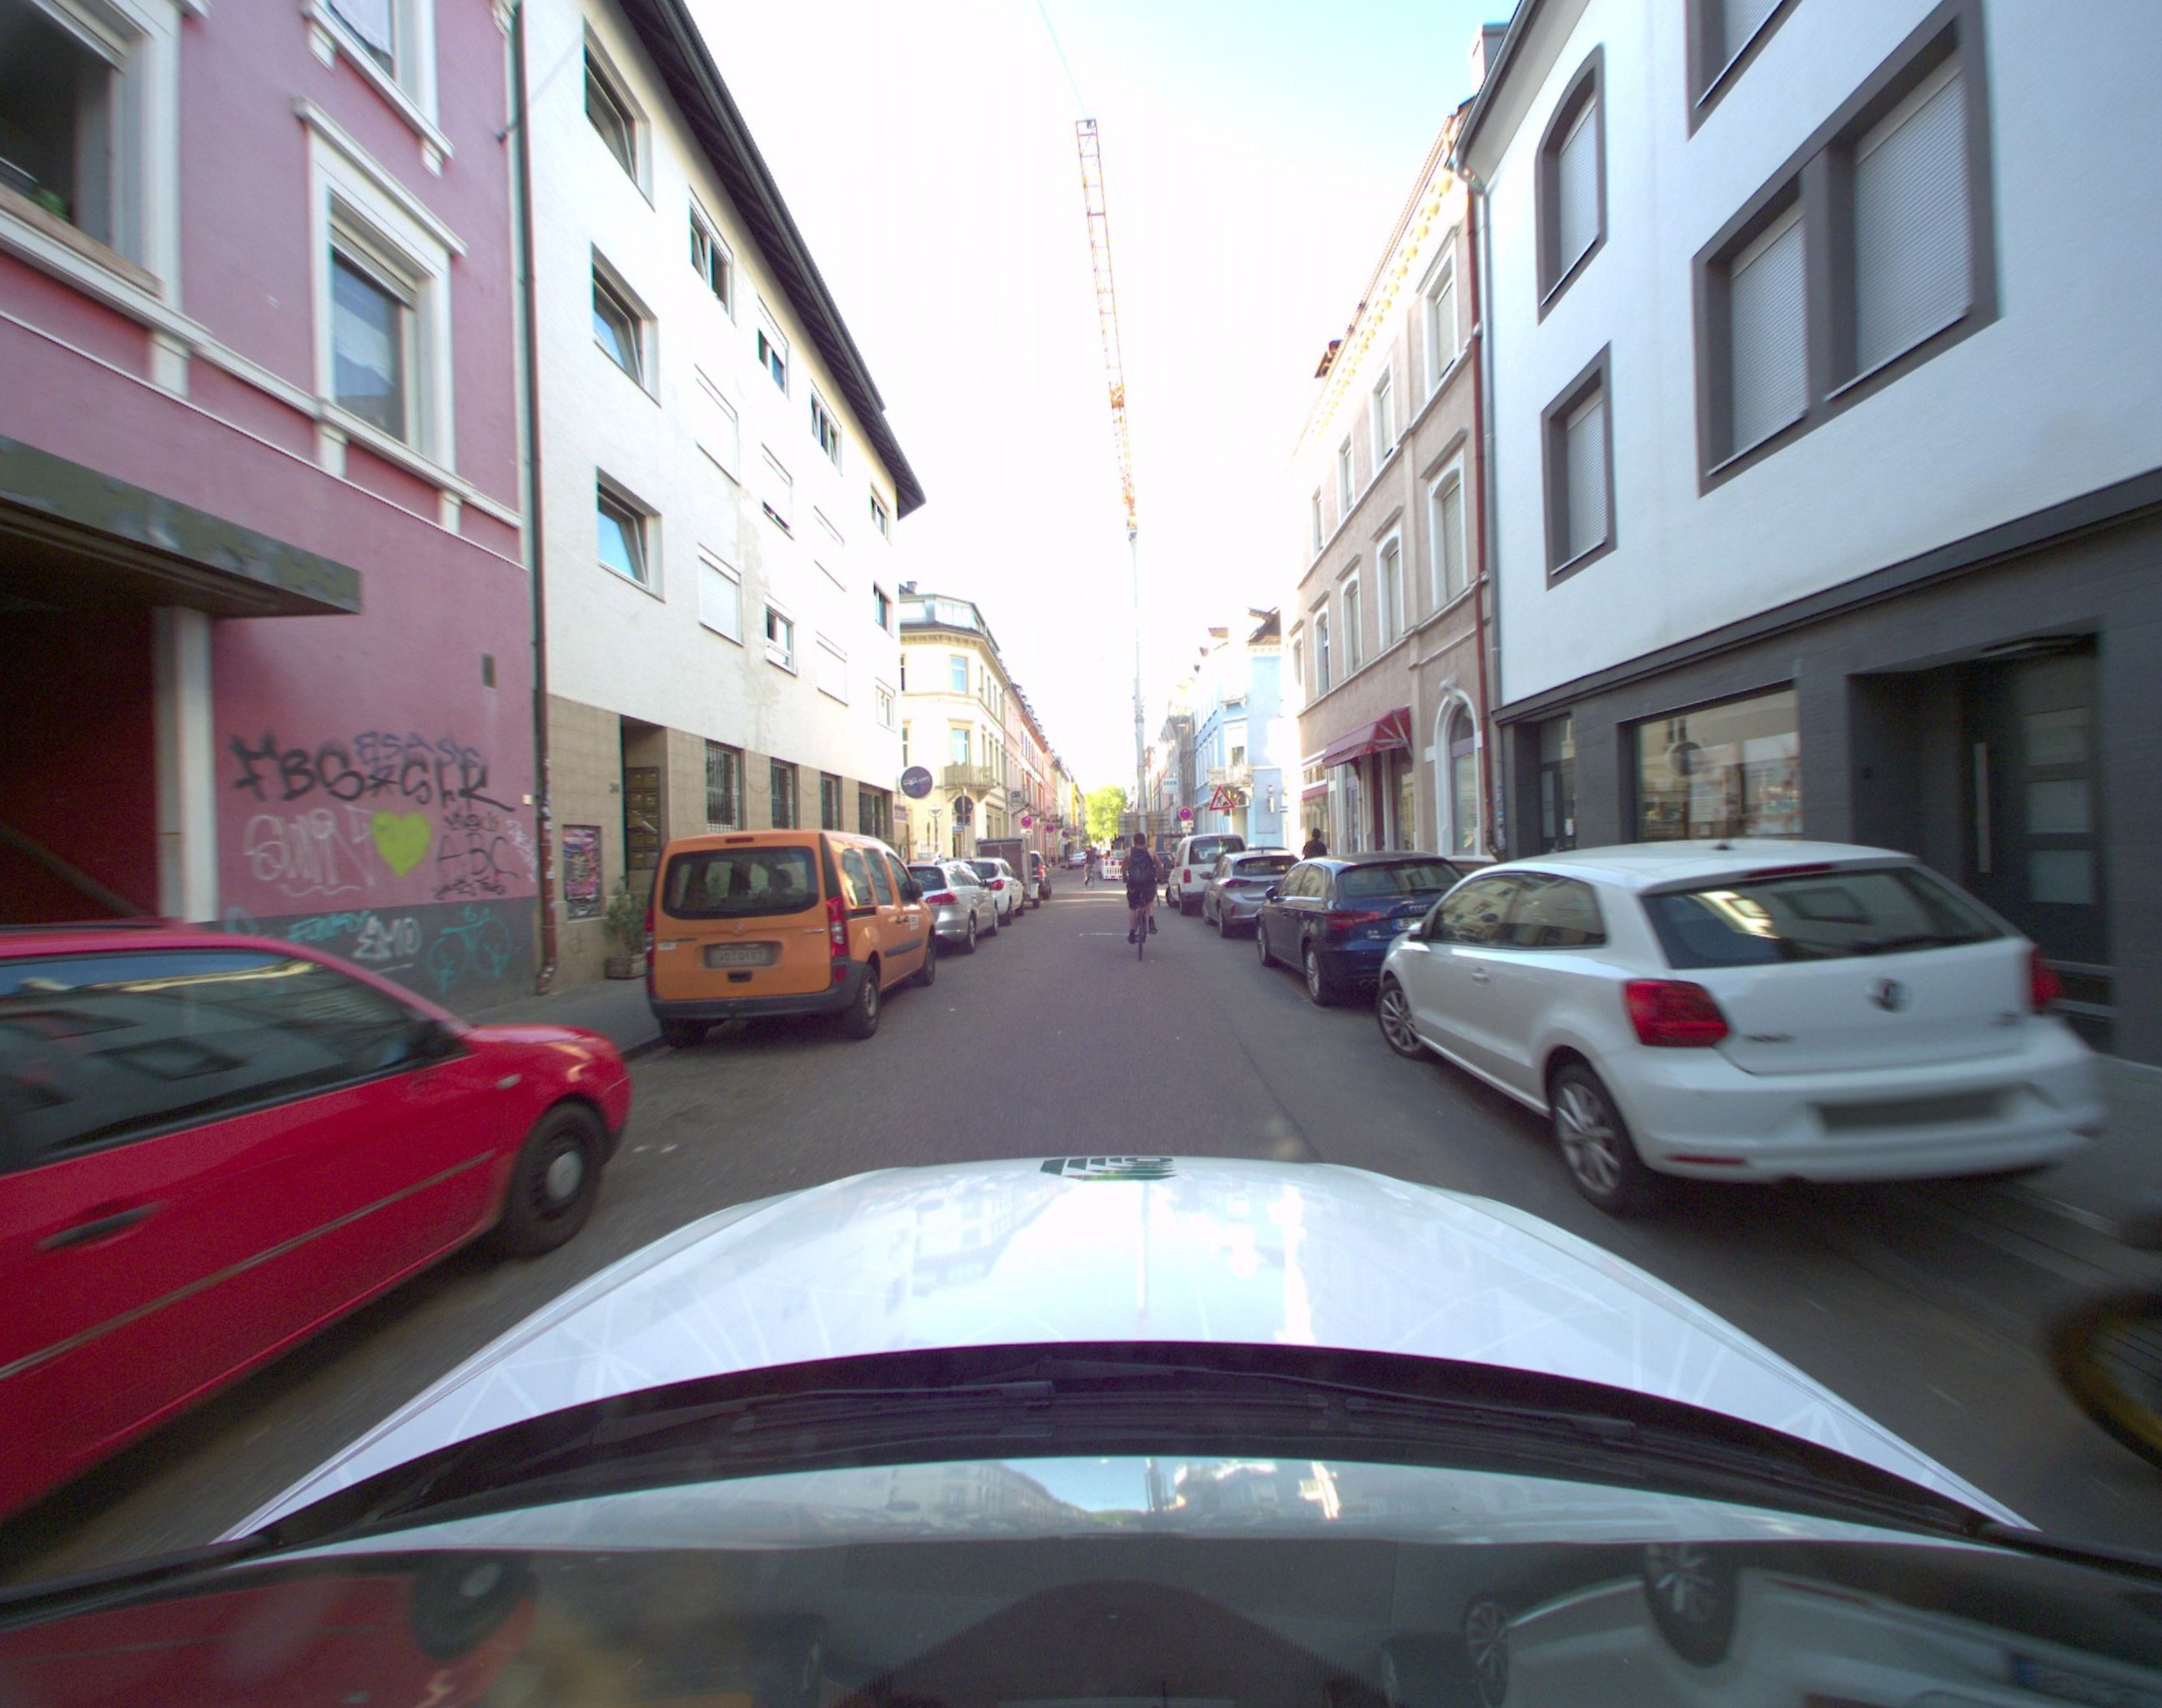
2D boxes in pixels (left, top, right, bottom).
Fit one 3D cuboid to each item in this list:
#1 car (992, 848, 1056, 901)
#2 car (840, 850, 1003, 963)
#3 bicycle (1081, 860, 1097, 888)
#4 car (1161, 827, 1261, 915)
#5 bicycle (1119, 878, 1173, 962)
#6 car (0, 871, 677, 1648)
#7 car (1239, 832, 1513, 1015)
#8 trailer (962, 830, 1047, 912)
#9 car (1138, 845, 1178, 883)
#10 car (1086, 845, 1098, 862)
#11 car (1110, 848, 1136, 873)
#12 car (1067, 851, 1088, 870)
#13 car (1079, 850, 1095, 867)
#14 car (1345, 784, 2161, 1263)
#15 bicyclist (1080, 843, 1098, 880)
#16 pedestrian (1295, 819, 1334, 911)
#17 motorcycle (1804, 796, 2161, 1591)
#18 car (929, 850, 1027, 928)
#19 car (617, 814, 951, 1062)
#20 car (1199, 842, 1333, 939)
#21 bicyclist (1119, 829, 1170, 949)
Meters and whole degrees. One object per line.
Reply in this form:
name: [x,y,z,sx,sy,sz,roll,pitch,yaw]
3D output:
car: [-1.873,0.662,27.751,1.743,1.573,3.797,-3,0,2]
car: [-2.495,0.761,13.835,1.743,1.537,4.320,-3,0,2]
bicycle: [0.355,0.814,34.531,0.646,1.129,2.136,-1,0,2]
car: [3.088,0.395,20.115,1.745,1.878,3.971,-3,0,-1]
bicycle: [0.926,0.923,11.968,0.674,1.074,1.942,-1,0,1]
car: [-2.922,0.867,2.350,1.572,1.483,3.566,-4,0,1]
car: [3.006,0.630,9.223,1.640,1.475,3.972,-6,-1,2]
trailer: [-2.111,0.453,23.441,1.875,2.092,3.738,-3,0,2]
car: [3.502,0.450,37.430,1.605,1.633,3.611,-1,0,2]
car: [1.677,-0.070,123.094,1.743,2.318,3.797,-3,0,2]
car: [2.756,0.440,53.728,1.605,1.560,3.611,-1,0,2]
car: [-0.301,0.605,76.908,1.743,1.683,3.797,-3,0,2]
car: [0.709,0.524,93.983,1.743,1.821,3.797,-3,0,2]
car: [2.933,0.590,4.677,1.660,1.505,3.819,-5,0,3]
bicyclist: [0.340,0.324,34.664,0.669,1.567,0.715,-1,-1,-4]
pedestrian: [5.216,0.235,18.237,0.642,2.014,0.764,-1,-1,1]
motorcycle: [2.370,0.630,1.066,0.744,1.490,2.423,-1,0,2]
car: [-2.277,0.741,18.854,1.647,1.537,3.635,-3,0,2]
car: [-2.638,0.665,8.368,1.746,1.816,4.079,-4,-1,1]
car: [3.253,0.604,15.044,1.743,1.487,3.803,-3,0,3]
bicyclist: [0.913,0.499,11.976,0.665,1.676,1.097,-1,-1,1]
